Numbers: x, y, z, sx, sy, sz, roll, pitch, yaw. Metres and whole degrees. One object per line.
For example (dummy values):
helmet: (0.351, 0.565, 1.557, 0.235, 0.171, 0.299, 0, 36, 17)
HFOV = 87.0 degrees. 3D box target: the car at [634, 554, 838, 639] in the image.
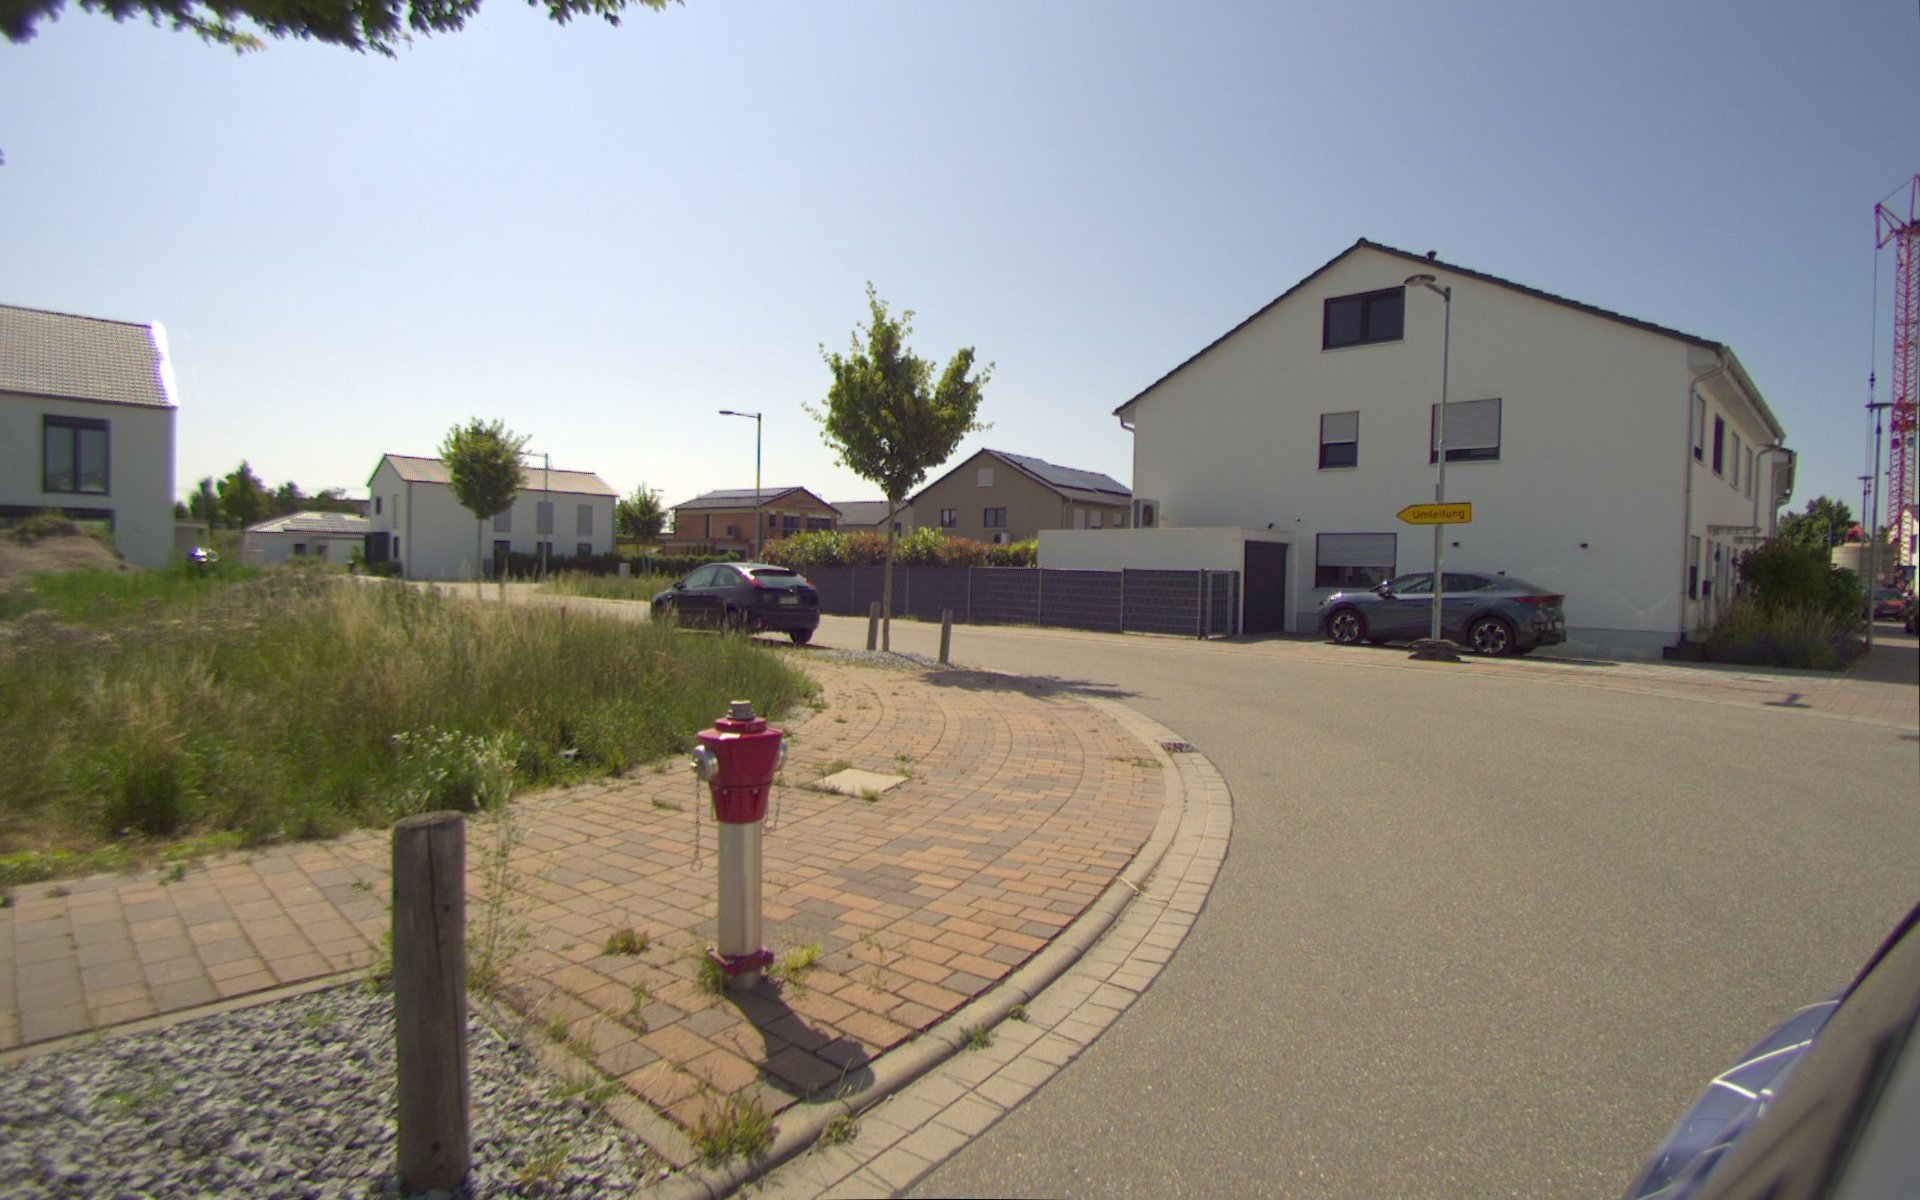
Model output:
car: (-4.484, -0.147, 19.922, 4.176, 1.512, 1.823, 2, 3, 41)

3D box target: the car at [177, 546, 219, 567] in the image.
car: (-53.347, -3.052, 70.795, 1.894, 1.437, 4.412, 0, 2, -43)

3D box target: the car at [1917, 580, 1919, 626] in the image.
car: (33.536, 0.126, 33.972, 1.906, 1.497, 3.939, 3, 3, 42)

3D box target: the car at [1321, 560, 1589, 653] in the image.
car: (9.630, 0.056, 19.923, 1.928, 1.577, 4.340, 1, 2, -44)

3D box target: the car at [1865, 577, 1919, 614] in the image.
car: (45.489, -0.262, 49.254, 1.793, 1.637, 3.628, 2, 3, 36)
